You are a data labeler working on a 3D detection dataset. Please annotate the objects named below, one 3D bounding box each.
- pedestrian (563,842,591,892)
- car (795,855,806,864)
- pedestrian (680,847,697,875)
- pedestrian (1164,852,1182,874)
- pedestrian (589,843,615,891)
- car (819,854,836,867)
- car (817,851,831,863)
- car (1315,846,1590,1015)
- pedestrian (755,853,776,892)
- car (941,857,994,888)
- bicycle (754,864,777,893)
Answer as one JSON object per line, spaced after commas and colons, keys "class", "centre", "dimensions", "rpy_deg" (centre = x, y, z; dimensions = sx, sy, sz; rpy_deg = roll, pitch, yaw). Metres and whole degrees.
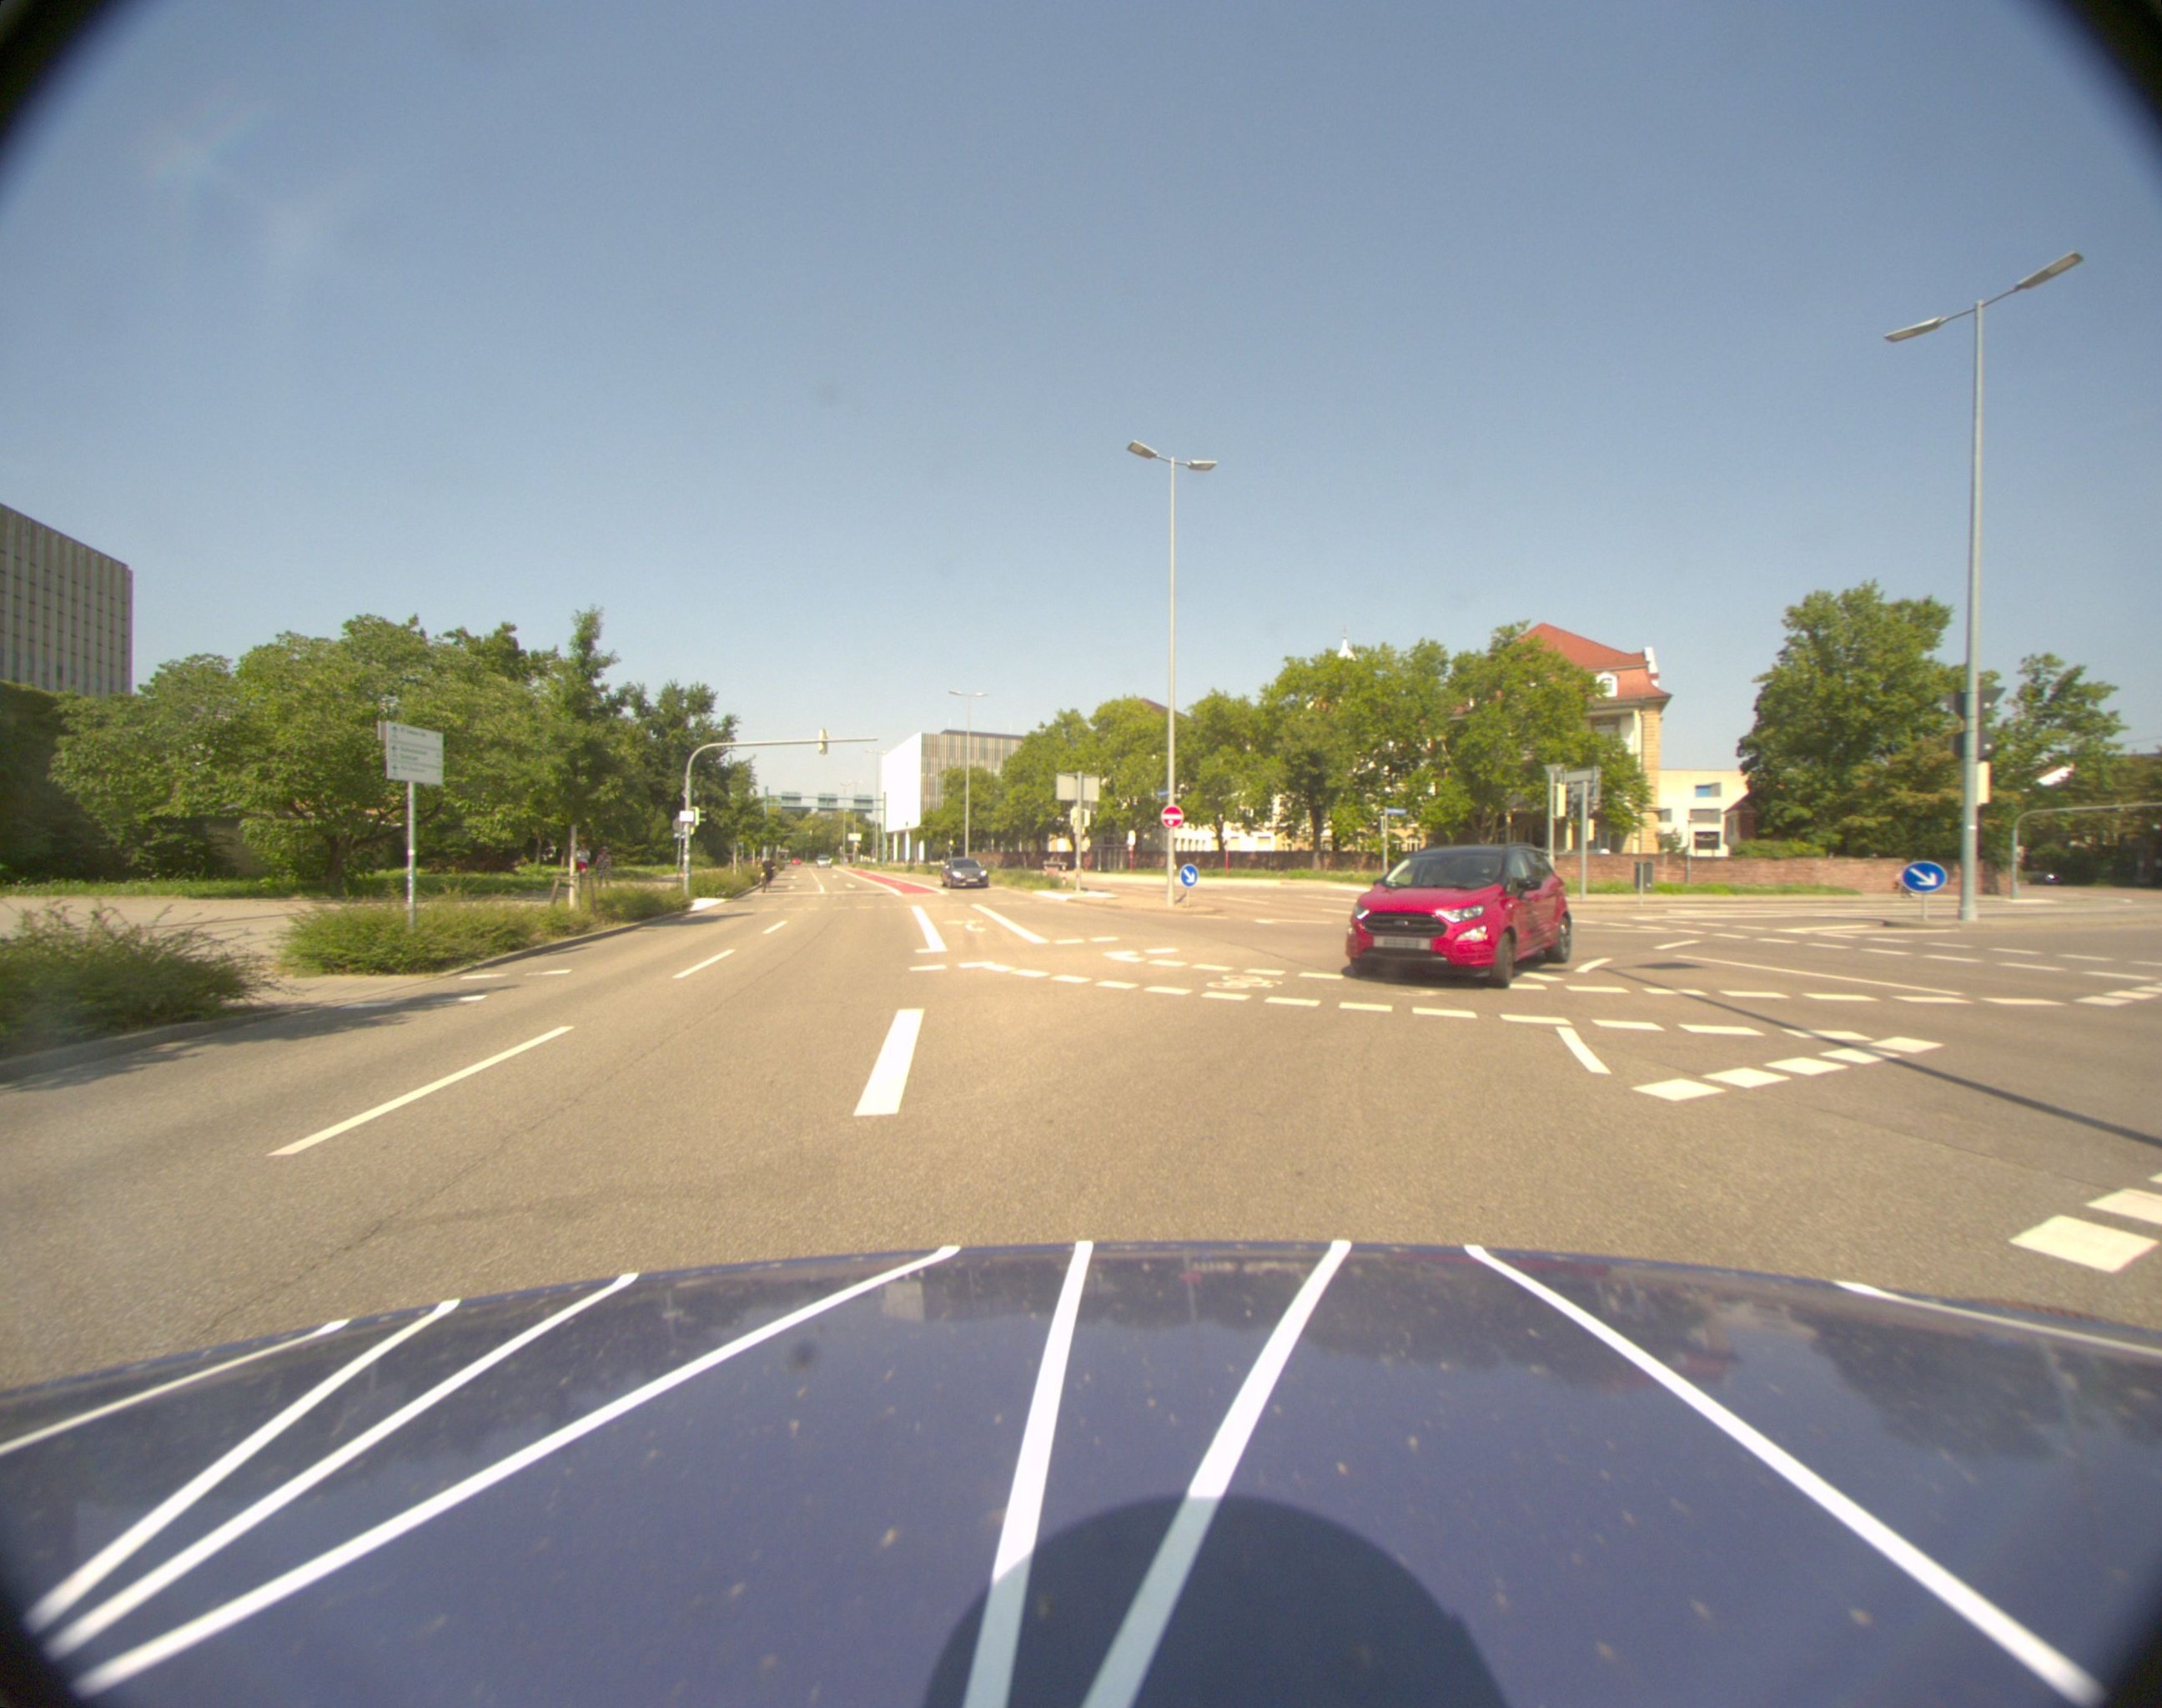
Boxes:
{"class": "pedestrian", "centre": [-18.263, 0.469, 27.544], "dimensions": [0.694, 1.761, 0.586], "rpy_deg": [0, 1, -19]}
{"class": "car", "centre": [-58.772, 1.198, 159.282], "dimensions": [2.002, 1.769, 3.993], "rpy_deg": [0, 0, -20]}
{"class": "pedestrian", "centre": [-24.433, 0.442, 47.299], "dimensions": [0.794, 1.758, 0.825], "rpy_deg": [0, 1, -19]}
{"class": "pedestrian", "centre": [8.775, 0.855, 72.195], "dimensions": [1.074, 2.002, 1.231], "rpy_deg": [1, 1, -43]}
{"class": "pedestrian", "centre": [-17.592, 0.469, 27.895], "dimensions": [0.694, 1.761, 0.586], "rpy_deg": [0, 1, -19]}
{"class": "car", "centre": [-33.128, 0.847, 99.075], "dimensions": [2.002, 1.669, 3.993], "rpy_deg": [0, 0, -20]}
{"class": "car", "centre": [-40.413, 0.442, 119.463], "dimensions": [2.002, 1.769, 3.993], "rpy_deg": [0, 0, -20]}
{"class": "car", "centre": [4.858, 0.751, 9.688], "dimensions": [4.008, 1.605, 1.840], "rpy_deg": [-2, 3, -43]}
{"class": "pedestrian", "centre": [-13.616, 0.785, 32.812], "dimensions": [0.781, 1.659, 0.548], "rpy_deg": [0, 1, -19]}
{"class": "car", "centre": [-5.386, 0.835, 35.842], "dimensions": [1.793, 1.349, 3.418], "rpy_deg": [-1, 1, -20]}
{"class": "bicycle", "centre": [-13.646, 1.040, 32.897], "dimensions": [0.787, 1.205, 1.786], "rpy_deg": [0, 0, -19]}
